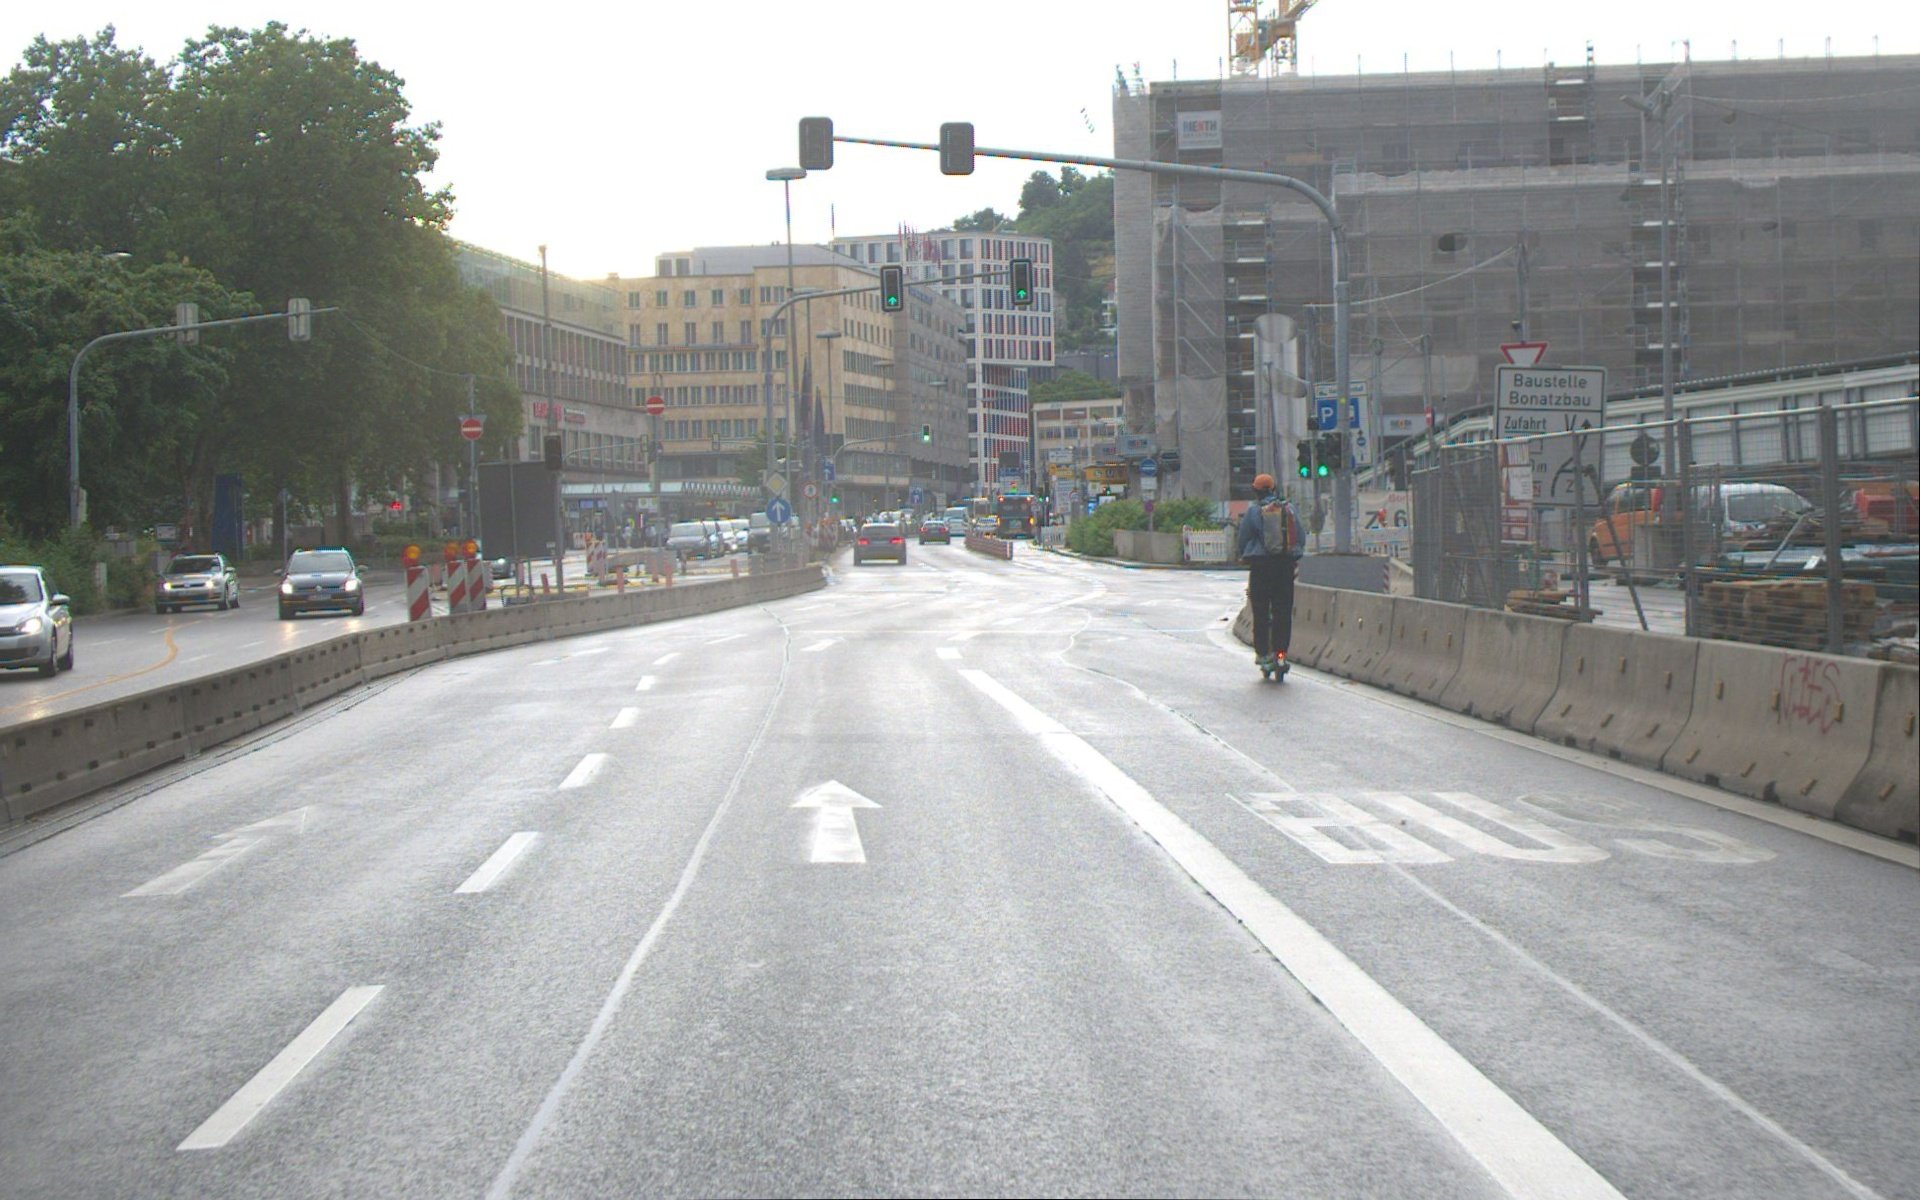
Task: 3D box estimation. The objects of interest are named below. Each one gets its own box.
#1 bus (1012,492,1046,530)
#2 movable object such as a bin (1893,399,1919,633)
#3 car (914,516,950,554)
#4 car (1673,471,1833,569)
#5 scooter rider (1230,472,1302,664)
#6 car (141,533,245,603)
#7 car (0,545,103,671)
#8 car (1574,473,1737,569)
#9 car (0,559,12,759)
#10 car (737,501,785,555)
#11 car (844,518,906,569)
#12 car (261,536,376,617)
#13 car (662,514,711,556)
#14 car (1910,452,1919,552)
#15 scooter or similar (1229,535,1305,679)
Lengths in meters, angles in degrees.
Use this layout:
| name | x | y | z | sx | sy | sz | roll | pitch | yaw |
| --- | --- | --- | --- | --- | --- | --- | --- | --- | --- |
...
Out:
| name | x | y | z | sx | sy | sz | roll | pitch | yaw |
| --- | --- | --- | --- | --- | --- | --- | --- | --- | --- |
| bus | 4.799 | -6.195 | 240.016 | 1.994 | 2.423 | 3.999 | -3 | -1 | 5 |
| movable object such as a bin | 12.495 | -0.979 | 40.104 | 1.806 | 2.800 | 3.867 | -1 | 2 | -6 |
| car | -1.647 | -3.813 | 202.899 | 1.993 | 2.007 | 4.000 | -3 | -1 | 0 |
| car | 15.552 | -1.618 | 67.671 | 1.846 | 1.800 | 5.087 | -1 | 3 | -1 |
| scooter rider | 2.897 | -0.307 | 32.609 | 0.597 | 1.779 | 0.997 | -1 | 1 | 2 |
| car | -19.614 | -0.796 | 88.100 | 1.993 | 1.536 | 4.446 | -3 | -1 | -5 |
| car | -12.806 | 0.154 | 46.122 | 1.869 | 1.536 | 4.091 | -3 | -1 | -5 |
| car | 14.830 | -1.681 | 73.618 | 1.911 | 1.968 | 5.164 | -1 | 1 | -6 |
| car | -7.738 | 0.373 | 22.210 | 2.030 | 1.647 | 4.912 | -3 | 0 | -3 |
| car | -8.508 | -3.064 | 147.055 | 1.902 | 2.075 | 4.177 | -3 | -1 | -3 |
| car | -2.956 | -1.942 | 118.668 | 1.902 | 1.523 | 4.177 | -3 | -1 | -3 |
| car | -13.947 | -0.490 | 74.987 | 1.993 | 1.536 | 4.580 | -3 | -1 | -5 |
| car | -11.636 | -2.769 | 146.427 | 1.902 | 1.523 | 4.177 | -3 | -1 | -3 |
| car | 23.333 | -2.269 | 76.521 | 2.044 | 2.305 | 5.607 | -3 | 1 | -8 |
| scooter or similar | 2.908 | 0.049 | 32.634 | 0.597 | 1.314 | 1.667 | -1 | 1 | 2 |
